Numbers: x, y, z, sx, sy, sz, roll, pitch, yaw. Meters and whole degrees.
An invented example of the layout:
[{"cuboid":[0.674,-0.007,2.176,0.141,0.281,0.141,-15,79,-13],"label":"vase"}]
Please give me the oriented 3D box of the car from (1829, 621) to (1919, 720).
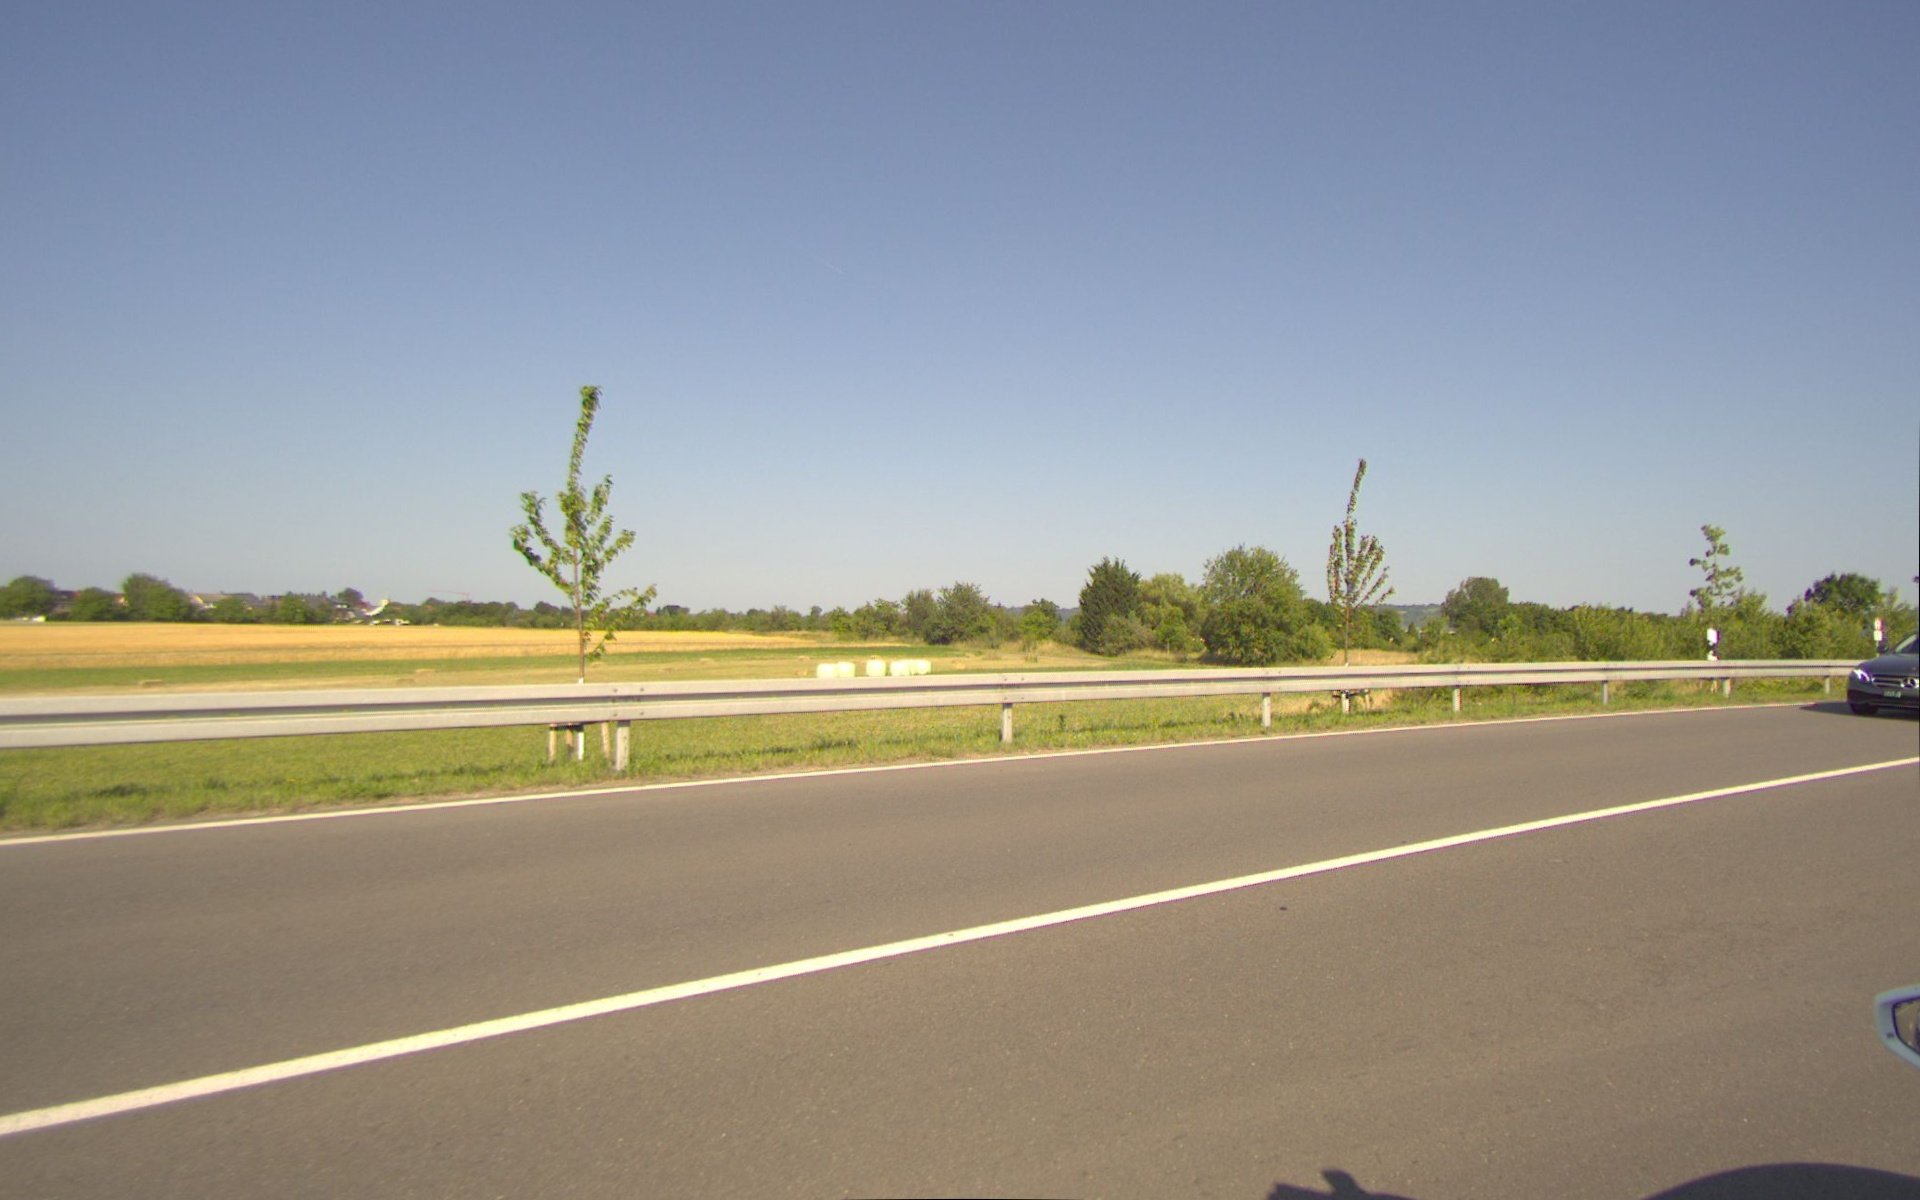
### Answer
[{"cuboid":[16.422,1.118,16.295,4.641,1.468,1.789,1,-1,-25],"label":"car"}]
